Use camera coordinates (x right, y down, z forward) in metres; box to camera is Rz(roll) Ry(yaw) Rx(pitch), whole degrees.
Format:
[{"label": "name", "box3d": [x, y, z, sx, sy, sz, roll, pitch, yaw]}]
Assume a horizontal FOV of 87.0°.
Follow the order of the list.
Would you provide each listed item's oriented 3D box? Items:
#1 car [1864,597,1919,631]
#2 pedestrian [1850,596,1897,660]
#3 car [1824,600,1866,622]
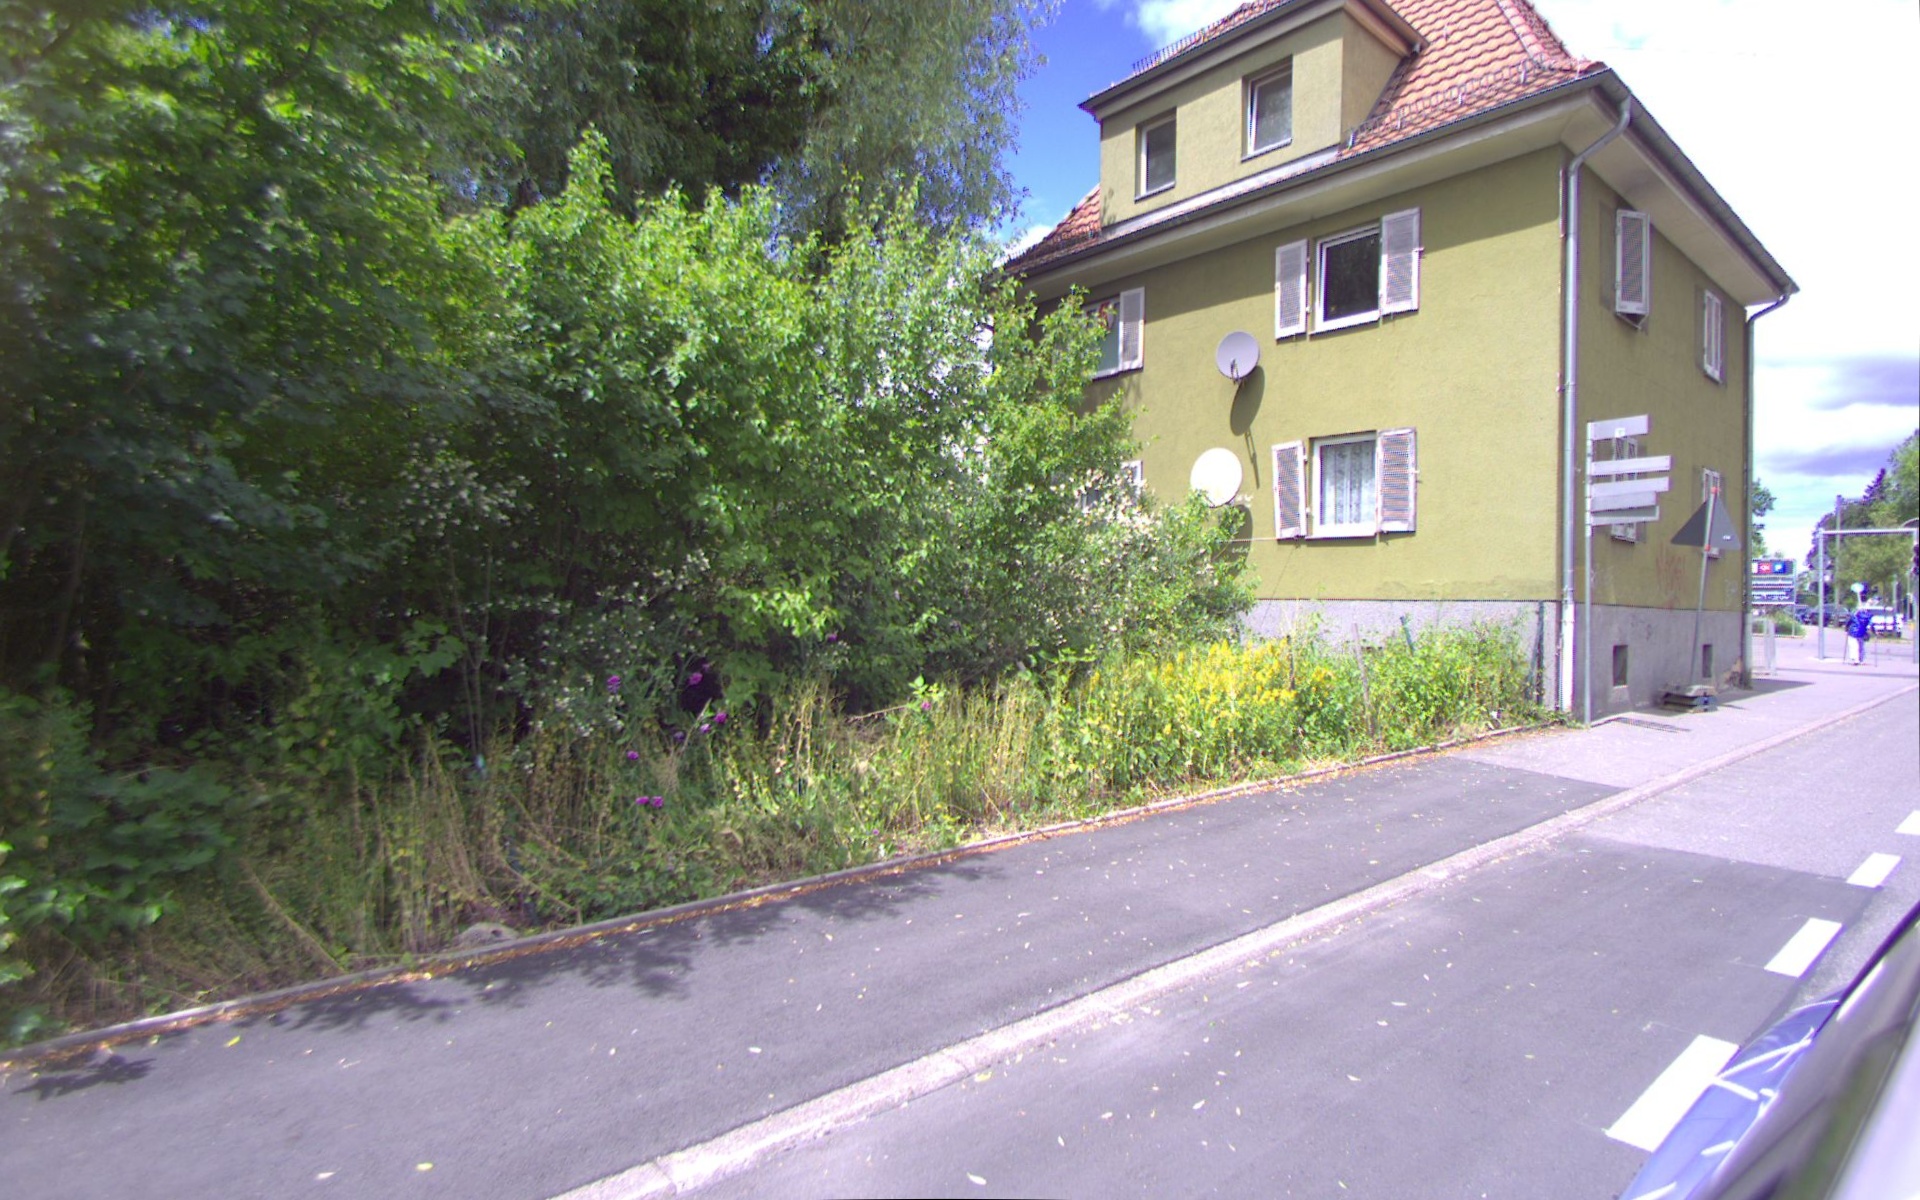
[{"label": "car", "box3d": [46.973, 0.662, 51.101, 1.788, 1.549, 3.864, 4, 2, 40]}, {"label": "pedestrian", "box3d": [23.382, 0.695, 25.897, 0.824, 1.592, 0.972, 2, 1, 45]}, {"label": "car", "box3d": [64.155, 0.787, 73.409, 1.694, 1.551, 3.951, -1, -1, 34]}]
